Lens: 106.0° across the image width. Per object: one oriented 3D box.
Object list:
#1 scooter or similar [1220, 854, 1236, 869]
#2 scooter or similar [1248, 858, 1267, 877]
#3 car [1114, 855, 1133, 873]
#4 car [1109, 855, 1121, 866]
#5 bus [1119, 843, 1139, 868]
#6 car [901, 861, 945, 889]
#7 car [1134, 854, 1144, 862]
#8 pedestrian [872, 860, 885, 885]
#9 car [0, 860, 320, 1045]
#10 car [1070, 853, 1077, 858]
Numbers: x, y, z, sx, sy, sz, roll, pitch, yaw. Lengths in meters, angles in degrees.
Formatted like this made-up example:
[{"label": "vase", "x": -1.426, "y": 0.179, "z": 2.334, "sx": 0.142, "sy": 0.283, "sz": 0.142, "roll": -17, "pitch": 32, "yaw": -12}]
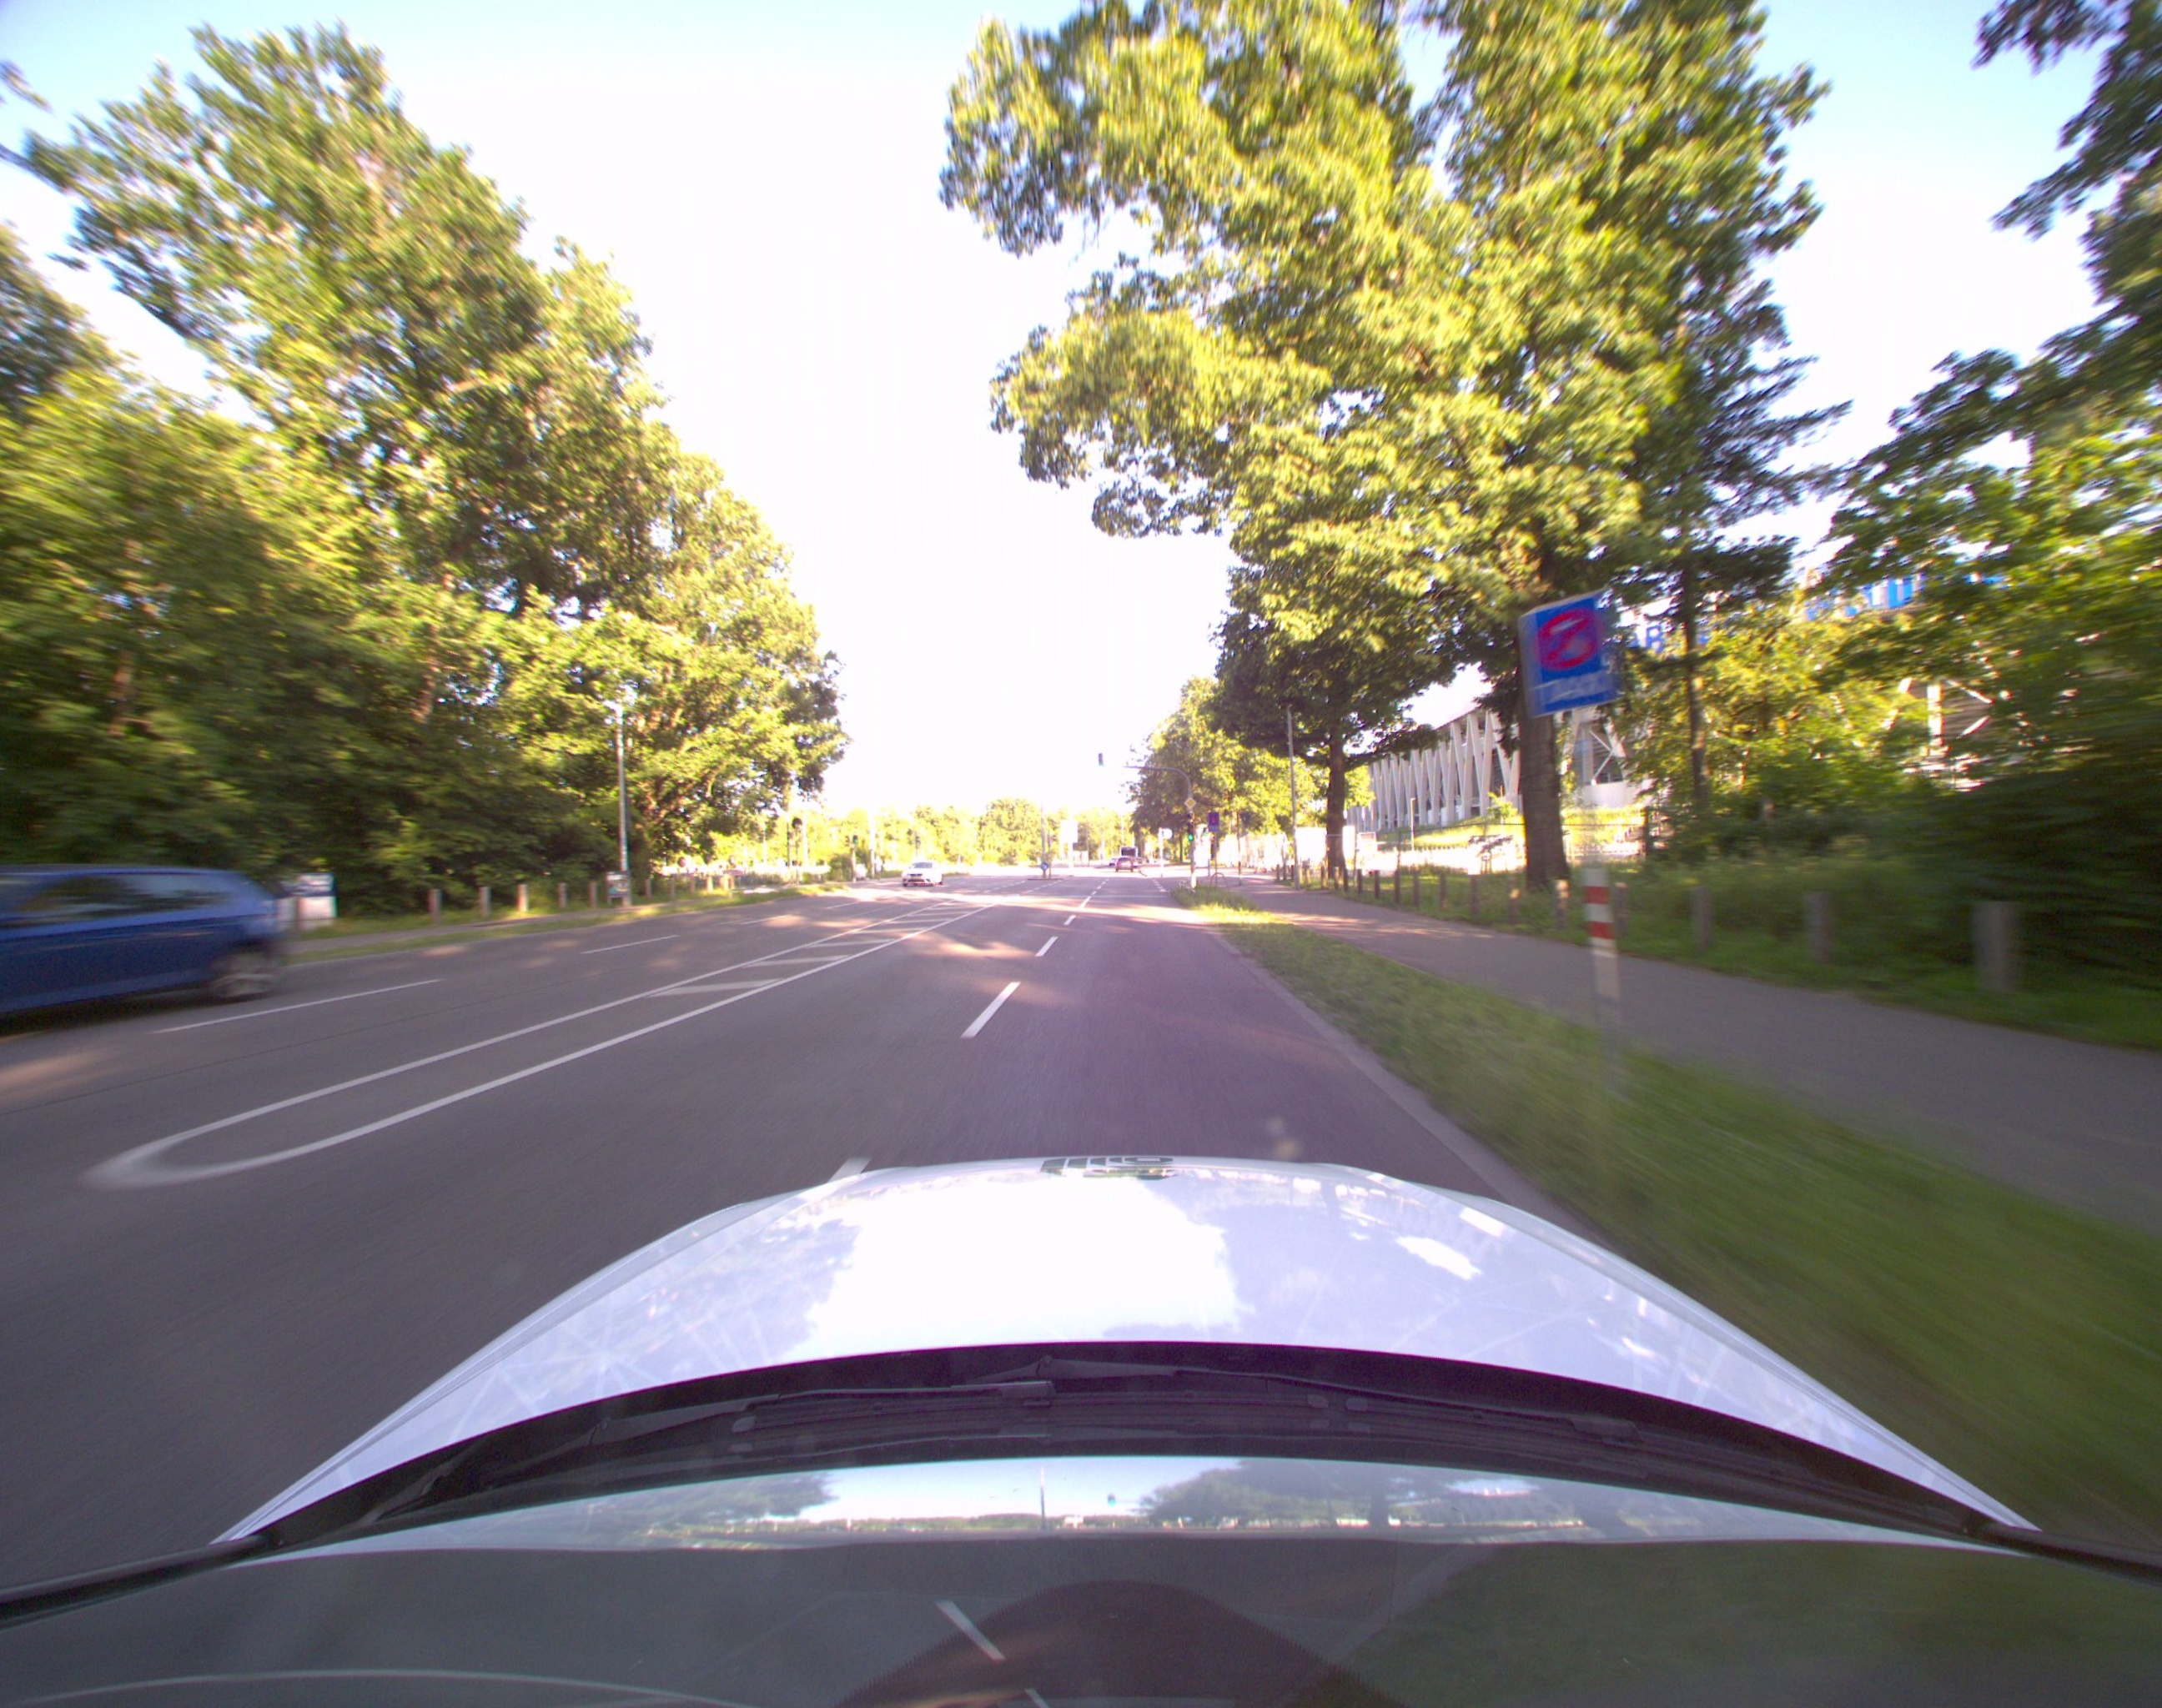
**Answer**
[{"label": "scooter or similar", "x": 12.958, "y": 0.675, "z": 71.740, "sx": 0.562, "sy": 1.256, "sz": 1.610, "roll": -2, "pitch": -1, "yaw": 41}, {"label": "scooter or similar", "x": 12.314, "y": 0.919, "z": 56.824, "sx": 1.368, "sy": 1.288, "sz": 0.597, "roll": -1, "pitch": 2, "yaw": -40}, {"label": "car", "x": 4.449, "y": 1.057, "z": 85.720, "sx": 1.872, "sy": 1.765, "sz": 4.003, "roll": -1, "pitch": 0, "yaw": 3}, {"label": "car", "x": 5.746, "y": 1.116, "z": 136.344, "sx": 1.872, "sy": 1.765, "sz": 4.003, "roll": -1, "pitch": 0, "yaw": 3}, {"label": "bus", "x": 6.706, "y": 0.166, "z": 114.473, "sx": 2.594, "sy": 3.368, "sz": 7.980, "roll": -1, "pitch": 0, "yaw": 3}, {"label": "car", "x": -8.876, "y": 1.161, "z": 46.077, "sx": 1.705, "sy": 1.464, "sz": 4.100, "roll": 0, "pitch": 0, "yaw": 0}, {"label": "car", "x": 12.202, "y": 0.869, "z": 169.936, "sx": 1.853, "sy": 1.684, "sz": 3.779, "roll": -2, "pitch": 0, "yaw": 7}, {"label": "pedestrian", "x": -15.729, "y": 1.422, "z": 63.337, "sx": 0.610, "sy": 1.909, "sz": 1.107, "roll": -2, "pitch": -1, "yaw": 2}, {"label": "car", "x": -9.666, "y": 0.836, "z": 7.410, "sx": 1.650, "sy": 1.508, "sz": 4.000, "roll": -1, "pitch": 0, "yaw": 1}, {"label": "car", "x": -2.292, "y": 0.465, "z": 243.882, "sx": 1.855, "sy": 1.684, "sz": 3.775, "roll": -2, "pitch": 0, "yaw": 2}]
